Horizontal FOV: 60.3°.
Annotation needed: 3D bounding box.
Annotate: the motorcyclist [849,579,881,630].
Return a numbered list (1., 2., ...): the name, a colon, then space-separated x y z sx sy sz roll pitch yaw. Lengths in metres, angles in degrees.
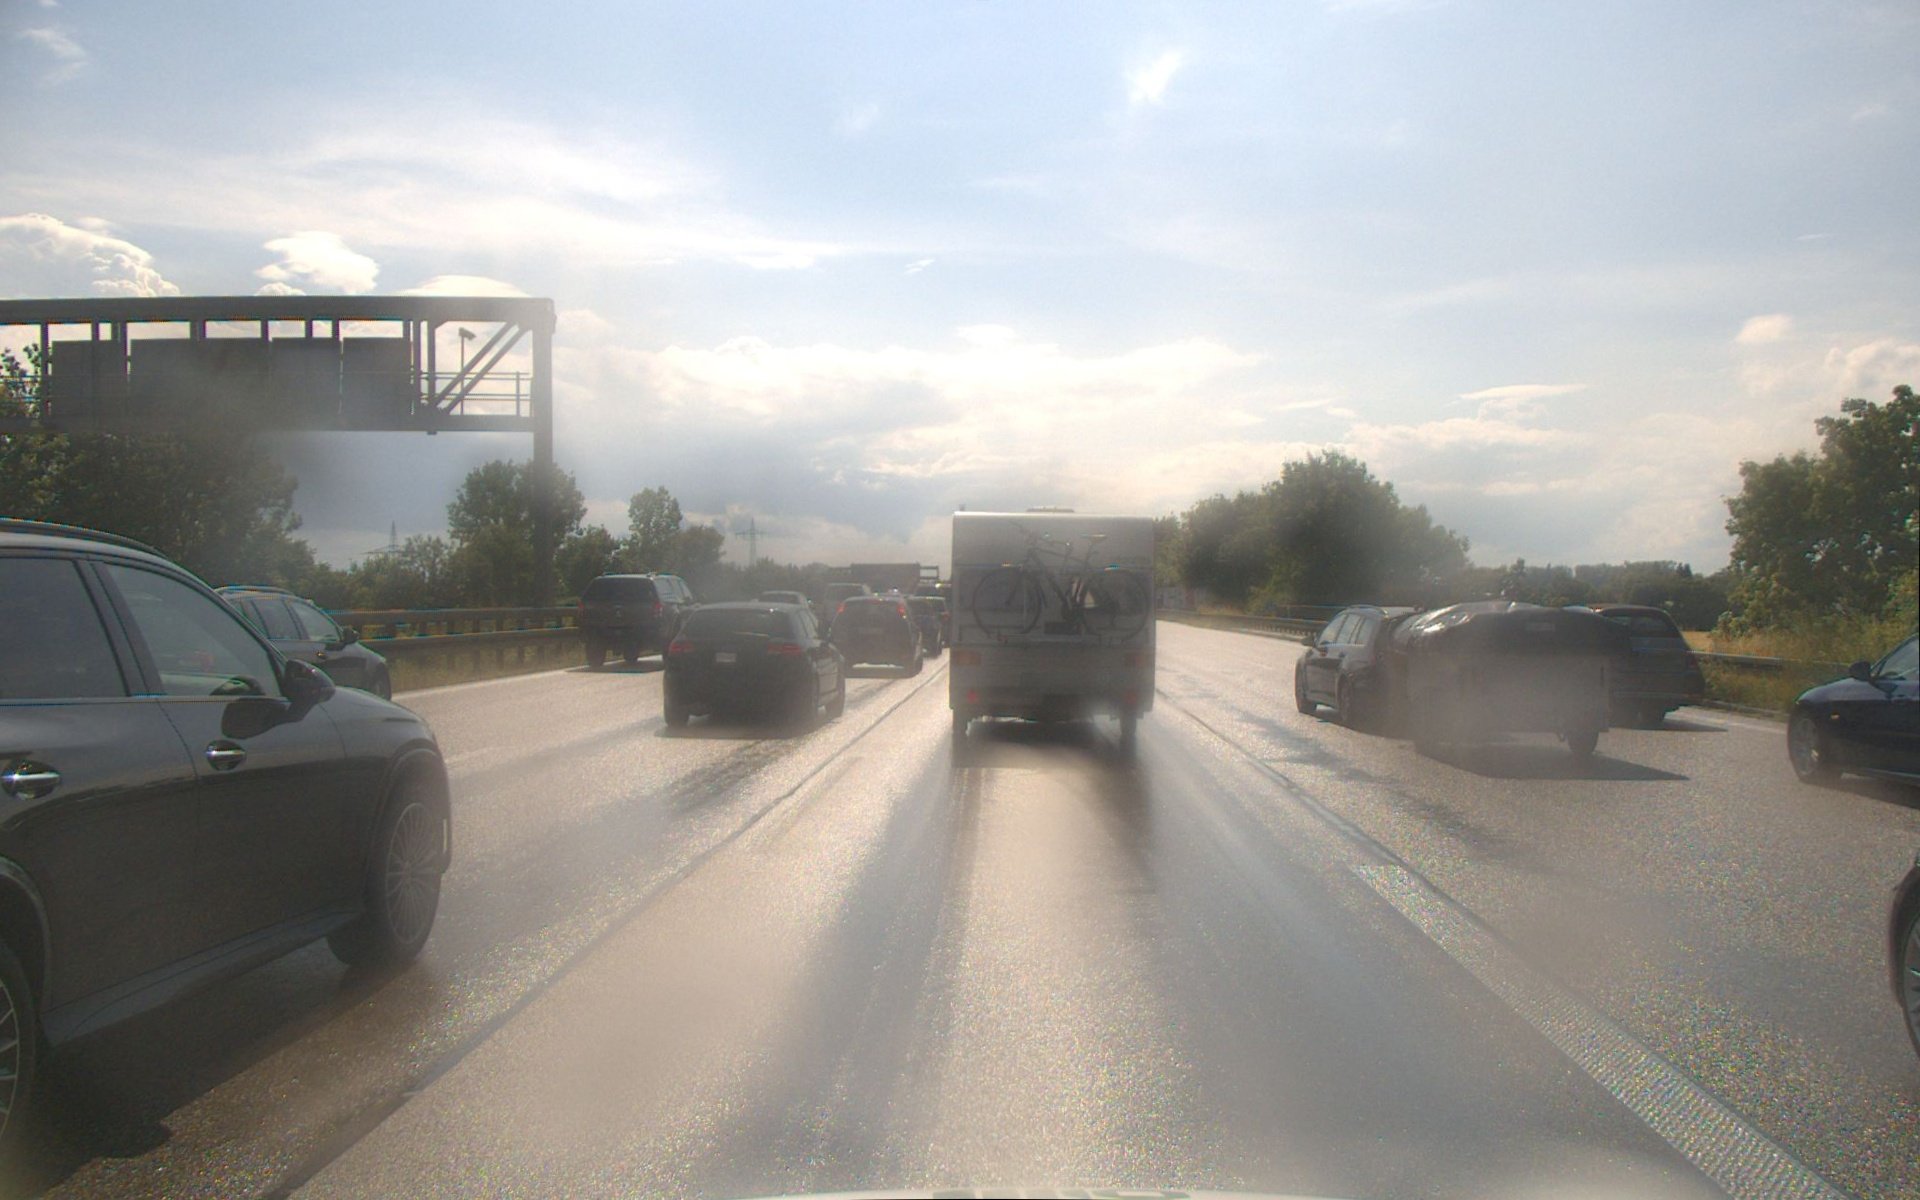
1. motorcyclist: -3.313 0.152 57.694 1.042 1.748 0.785 1 0 2

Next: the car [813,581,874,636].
1. car: -4.792 0.349 68.599 1.952 2.048 4.001 4 0 3

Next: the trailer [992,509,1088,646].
1. trailer: 2.798 -0.705 56.100 2.944 4.239 8.540 1 0 4

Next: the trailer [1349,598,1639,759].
1. trailer: 5.427 0.723 17.377 1.816 1.467 4.148 0 0 2

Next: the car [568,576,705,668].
1. car: -6.572 0.434 34.054 1.952 1.750 4.000 1 0 1

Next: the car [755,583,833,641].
1. car: -5.360 0.377 53.754 1.952 1.803 4.001 0 0 3

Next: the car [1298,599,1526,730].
1. car: 5.541 0.723 20.814 1.816 1.467 4.259 0 0 2

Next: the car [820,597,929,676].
1. car: -1.632 0.681 32.852 1.768 1.432 4.001 1 0 2

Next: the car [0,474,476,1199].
1. car: -3.125 0.555 4.895 1.952 1.690 4.407 0 0 2

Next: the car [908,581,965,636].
1. car: -0.875 0.310 65.035 1.952 2.049 4.001 1 0 3

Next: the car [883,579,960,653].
1. car: -1.144 0.480 51.190 1.952 2.048 4.001 4 0 3

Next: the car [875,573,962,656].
1. car: -1.034 0.360 43.325 1.952 2.049 4.001 1 0 3

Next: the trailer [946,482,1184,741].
1. trailer: 1.151 0.122 19.721 2.325 2.526 6.524 1 0 2

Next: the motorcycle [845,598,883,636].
1. motorcycle: -3.321 0.573 57.616 1.051 1.293 2.691 0 0 3

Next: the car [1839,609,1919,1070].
1. car: 3.828 0.764 3.777 1.704 1.445 3.836 0 0 2

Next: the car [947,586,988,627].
1. car: 0.405 0.338 84.806 1.952 2.049 4.001 0 0 3

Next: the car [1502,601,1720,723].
1. car: 8.778 0.782 22.611 1.637 1.508 3.672 0 0 2

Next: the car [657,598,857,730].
1. car: -2.317 0.691 19.855 1.720 1.411 3.946 0 0 3

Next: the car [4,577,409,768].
1. car: -6.858 0.586 15.603 1.720 1.543 4.210 0 0 3

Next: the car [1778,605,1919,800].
1. car: 7.986 0.774 12.426 1.734 1.426 4.291 1 0 3
